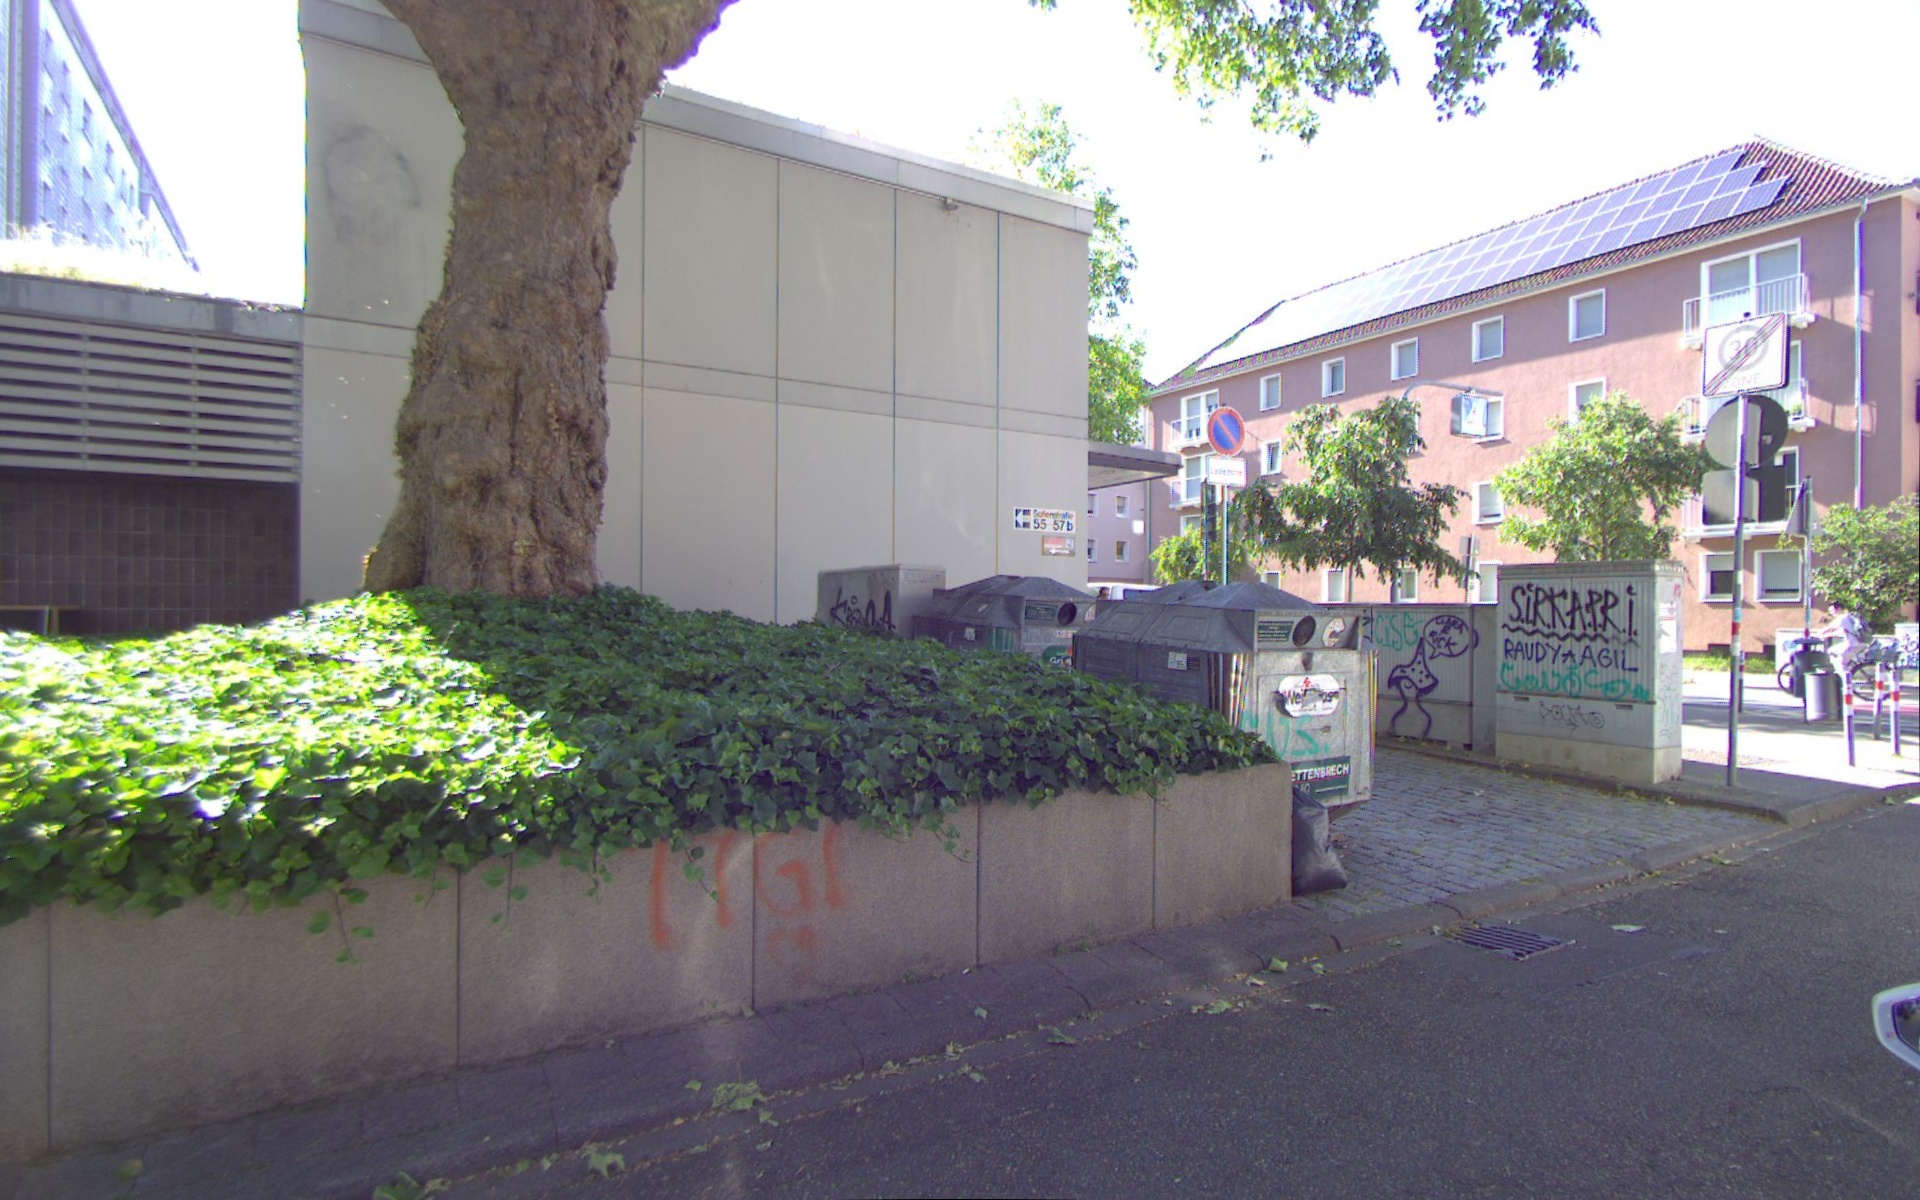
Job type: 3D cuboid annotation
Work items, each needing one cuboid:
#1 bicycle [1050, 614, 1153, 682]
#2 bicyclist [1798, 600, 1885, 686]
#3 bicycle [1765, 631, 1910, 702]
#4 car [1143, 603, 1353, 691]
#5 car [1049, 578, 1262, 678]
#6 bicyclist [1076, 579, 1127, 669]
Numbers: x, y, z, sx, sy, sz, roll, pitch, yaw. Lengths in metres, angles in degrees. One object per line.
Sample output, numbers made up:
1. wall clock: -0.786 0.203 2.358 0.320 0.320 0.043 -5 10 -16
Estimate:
1. bicycle: 2.599 0.869 18.425 1.695 1.168 0.799 1 1 -27
2. bicyclist: 16.322 0.787 18.613 0.730 1.539 1.037 1 -1 -30
3. bicycle: 16.246 1.199 18.658 0.622 1.213 1.938 1 -1 -30
4. car: 5.924 0.919 20.523 4.256 1.634 1.743 1 -1 -32
5. car: 4.463 0.678 22.687 4.694 2.032 1.942 3 -2 -33
6. bicyclist: 2.577 0.430 18.330 0.528 1.605 0.700 2 1 -31
